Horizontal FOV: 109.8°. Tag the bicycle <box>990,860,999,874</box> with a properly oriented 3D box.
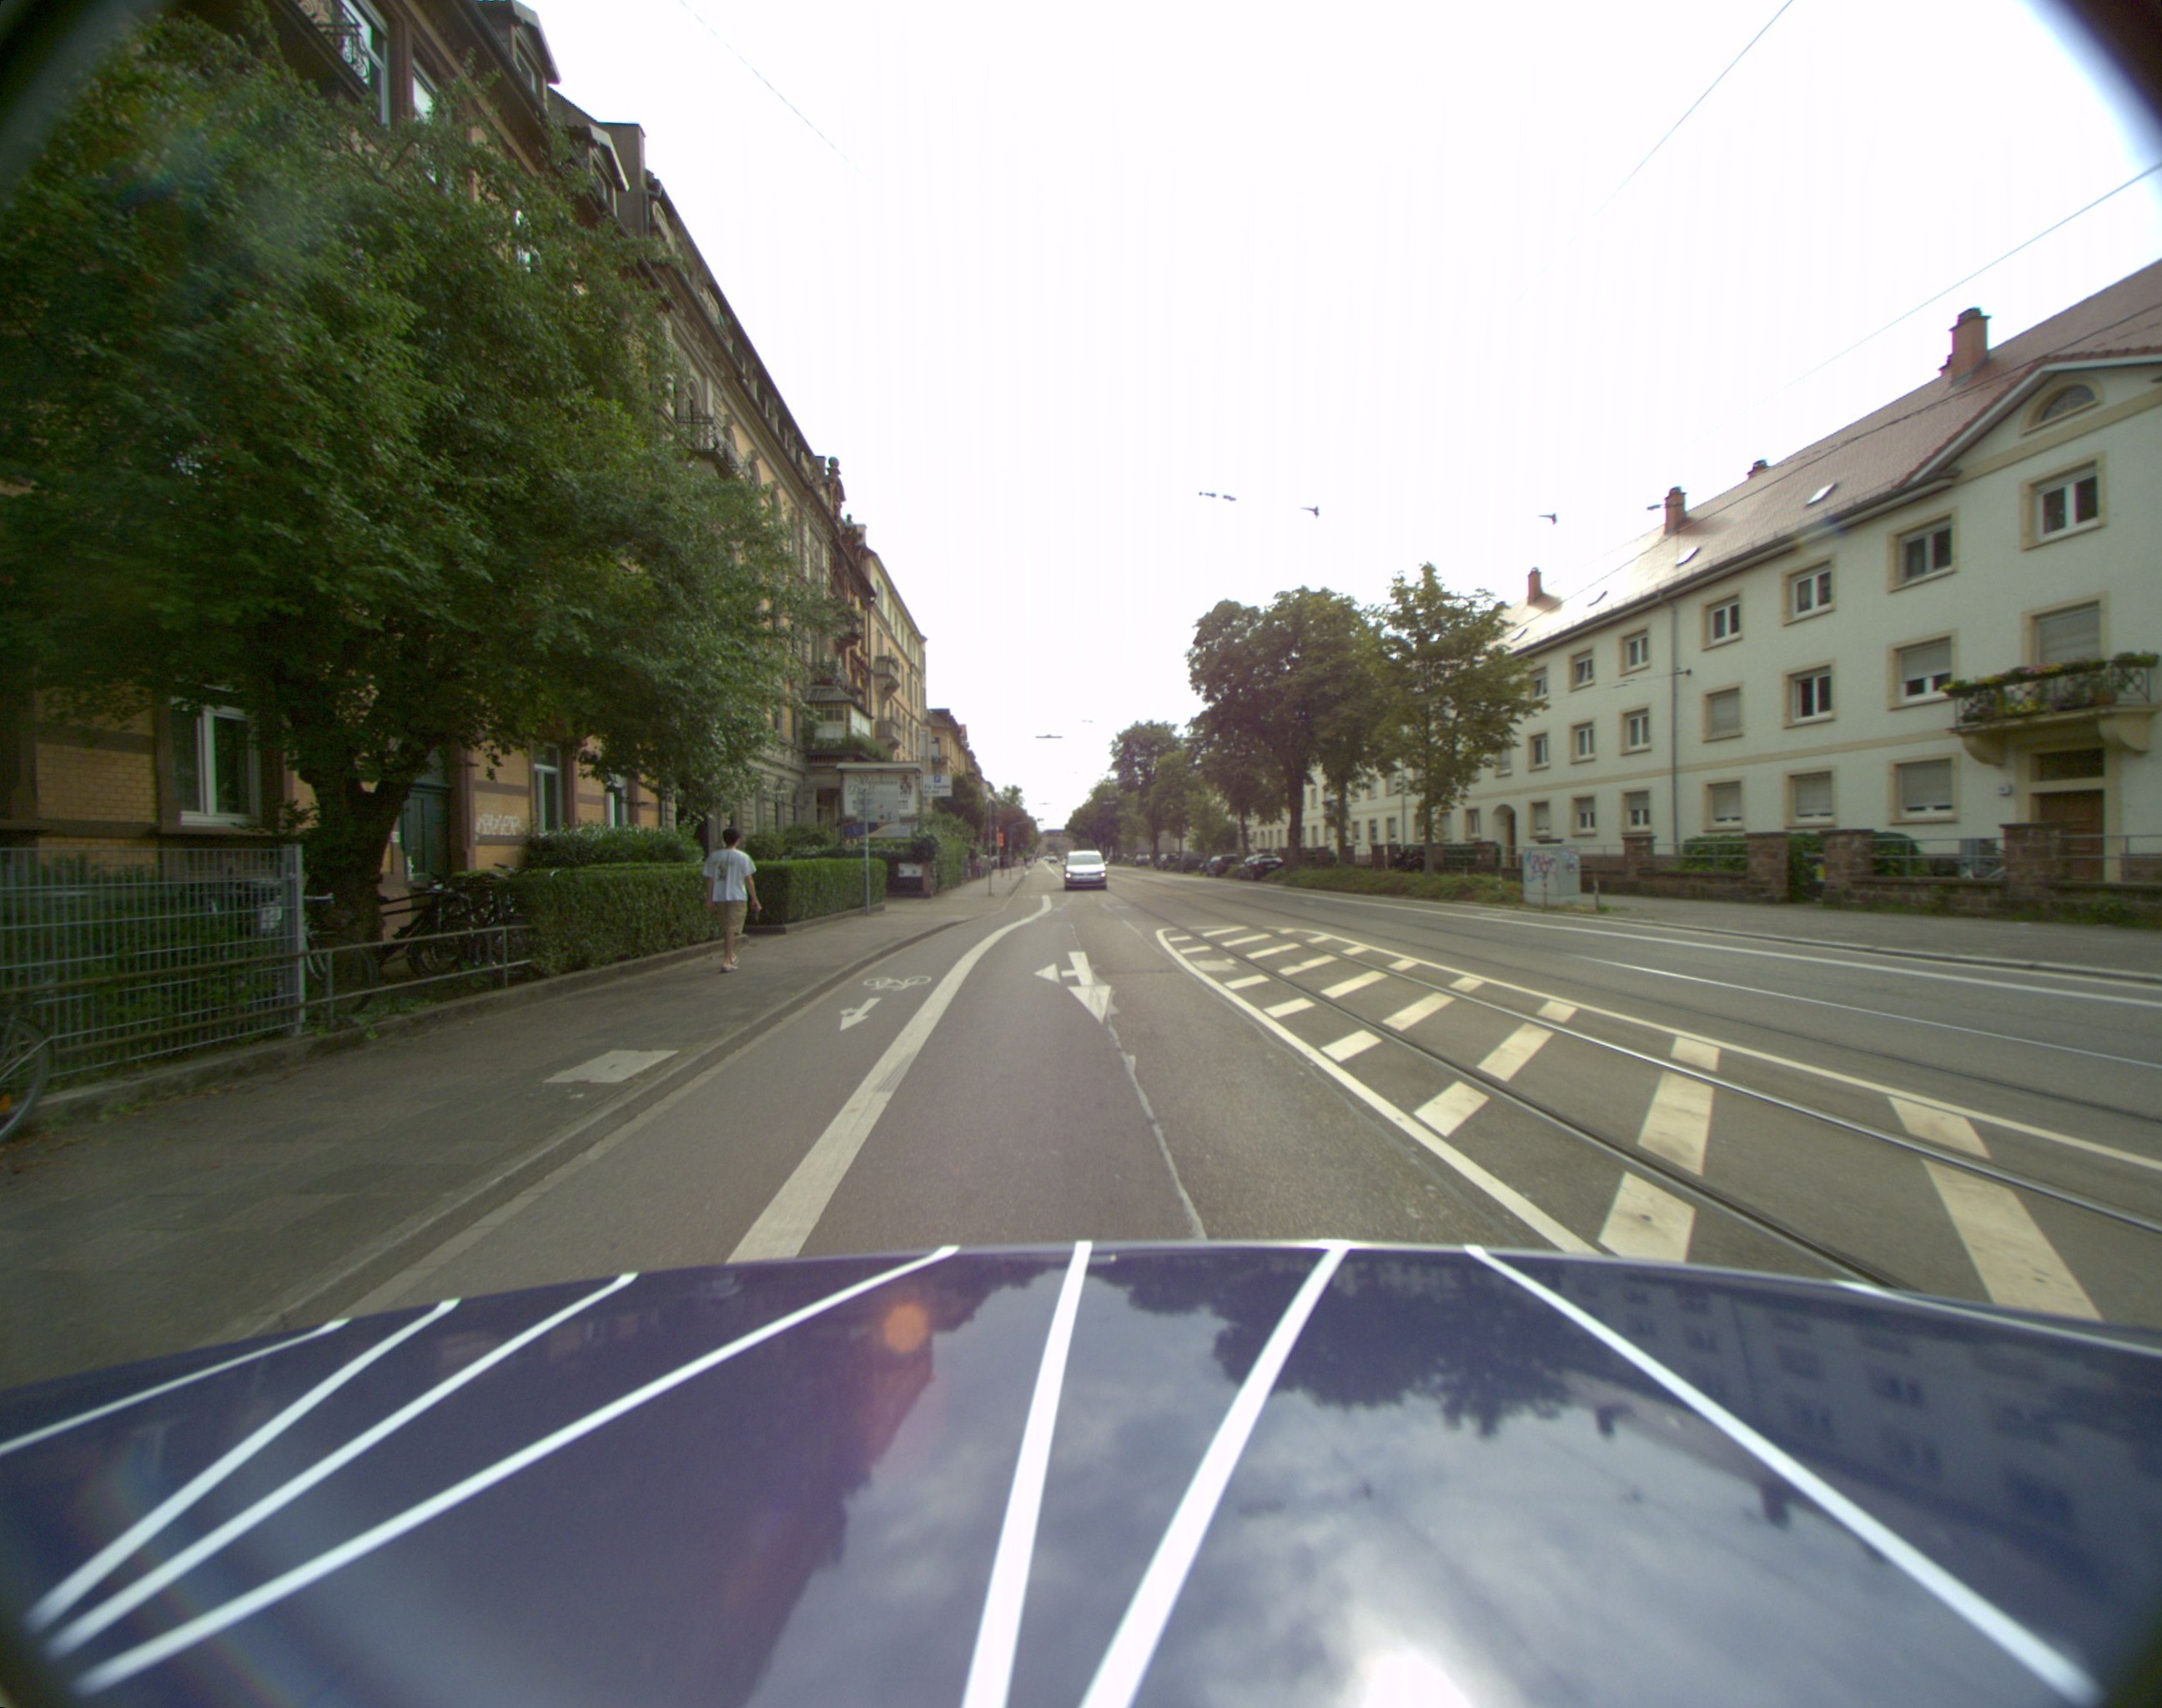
[{"bbox_3d":[-6.640,1.003,58.188,0.580,0.977,1.671,3,0,-4],"label":"bicycle"}]

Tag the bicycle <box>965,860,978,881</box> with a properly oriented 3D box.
[{"bbox_3d":[-5.958,0.906,41.346,0.580,1.105,1.671,-1,0,-4],"label":"bicycle"}]

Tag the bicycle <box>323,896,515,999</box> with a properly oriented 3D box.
[{"bbox_3d":[-6.946,0.967,8.018,1.549,1.003,0.444,-1,1,-4],"label":"bicycle"}]

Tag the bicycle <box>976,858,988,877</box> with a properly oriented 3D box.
[{"bbox_3d":[-6.060,0.848,46.704,0.580,1.105,1.671,3,0,-4],"label":"bicycle"}]

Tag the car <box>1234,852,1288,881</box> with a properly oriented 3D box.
[{"bbox_3d":[9.951,0.681,42.325,1.701,1.415,4.298,-4,0,-3],"label":"car"}]

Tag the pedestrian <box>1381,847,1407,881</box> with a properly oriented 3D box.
[{"bbox_3d":[14.170,0.431,34.389,0.835,1.503,0.732,-1,1,-8],"label":"pedestrian"}]

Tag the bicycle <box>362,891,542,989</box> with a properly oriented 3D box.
[{"bbox_3d":[-6.964,0.939,8.452,1.549,1.003,0.444,-1,1,-4],"label":"bicycle"}]

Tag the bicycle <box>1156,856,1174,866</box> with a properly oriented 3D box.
[{"bbox_3d":[8.356,0.740,75.779,1.672,0.965,0.672,-1,1,-12],"label":"bicycle"}]

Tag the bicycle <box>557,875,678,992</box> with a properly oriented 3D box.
[{"bbox_3d":[-5.624,0.916,9.320,0.517,1.274,1.550,-1,0,-1],"label":"bicycle"}]

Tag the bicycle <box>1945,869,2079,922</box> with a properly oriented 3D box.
[{"bbox_3d":[17.702,0.758,14.505,0.479,0.910,1.671,-1,0,-3],"label":"bicycle"}]

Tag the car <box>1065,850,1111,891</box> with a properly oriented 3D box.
[{"bbox_3d":[0.329,0.667,34.078,1.876,1.670,5.131,-1,0,1],"label":"car"}]

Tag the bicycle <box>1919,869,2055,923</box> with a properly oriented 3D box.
[{"bbox_3d":[16.747,0.748,14.107,0.479,0.910,1.671,-1,0,-3],"label":"bicycle"}]

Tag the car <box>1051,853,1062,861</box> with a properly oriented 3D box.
[{"bbox_3d":[-5.006,0.637,155.627,1.947,1.675,4.000,-1,0,1],"label":"car"}]

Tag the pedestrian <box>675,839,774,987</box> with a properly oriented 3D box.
[{"bbox_3d":[-4.389,0.695,9.425,0.732,1.744,0.950,-1,1,2],"label":"pedestrian"}]

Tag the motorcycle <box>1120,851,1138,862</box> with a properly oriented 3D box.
[{"bbox_3d":[6.721,0.368,105.953,2.312,1.382,0.838,-6,1,29],"label":"motorcycle"}]

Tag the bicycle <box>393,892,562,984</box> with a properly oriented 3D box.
[{"bbox_3d":[-7.034,0.964,8.890,1.549,1.003,0.444,-1,1,-4],"label":"bicycle"}]

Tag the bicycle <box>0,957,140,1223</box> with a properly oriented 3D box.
[{"bbox_3d":[-4.952,1.064,3.020,0.510,1.082,1.549,2,0,-3],"label":"bicycle"}]

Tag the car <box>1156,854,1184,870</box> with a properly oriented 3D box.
[{"bbox_3d":[8.298,0.729,71.150,1.702,1.462,4.298,-1,0,-5],"label":"car"}]

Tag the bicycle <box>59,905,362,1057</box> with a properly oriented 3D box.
[{"bbox_3d":[-6.394,0.911,5.636,1.549,1.003,0.510,-1,1,-4],"label":"bicycle"}]

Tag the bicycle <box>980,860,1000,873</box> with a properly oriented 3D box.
[{"bbox_3d":[-8.108,1.071,67.607,0.629,1.106,1.878,0,1,40],"label":"bicycle"}]

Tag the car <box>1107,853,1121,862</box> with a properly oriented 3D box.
[{"bbox_3d":[5.579,0.656,127.670,1.732,1.462,4.298,-1,0,-5],"label":"car"}]

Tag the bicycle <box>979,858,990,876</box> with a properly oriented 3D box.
[{"bbox_3d":[-6.171,0.819,48.674,0.580,1.105,1.671,3,0,-4],"label":"bicycle"}]

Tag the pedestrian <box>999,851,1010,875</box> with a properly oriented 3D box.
[{"bbox_3d":[-5.287,0.606,52.659,0.732,1.614,0.835,-1,1,-3],"label":"pedestrian"}]

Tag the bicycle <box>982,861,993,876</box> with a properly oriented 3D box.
[{"bbox_3d":[-6.422,0.981,52.302,0.580,0.977,1.671,3,0,-4],"label":"bicycle"}]

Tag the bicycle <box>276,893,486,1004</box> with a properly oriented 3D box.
[{"bbox_3d":[-6.809,0.907,7.437,1.549,1.003,0.444,-1,1,-4],"label":"bicycle"}]

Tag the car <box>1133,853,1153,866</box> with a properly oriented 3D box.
[{"bbox_3d":[7.337,0.674,90.378,1.701,1.462,4.297,-1,0,-5],"label":"car"}]

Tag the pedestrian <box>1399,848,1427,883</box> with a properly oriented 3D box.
[{"bbox_3d":[14.262,0.497,32.661,0.835,1.456,0.732,-1,1,-8],"label":"pedestrian"}]

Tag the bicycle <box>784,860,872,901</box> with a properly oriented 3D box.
[{"bbox_3d":[-8.417,0.870,25.360,2.631,1.304,0.770,-1,1,-5],"label":"bicycle"}]

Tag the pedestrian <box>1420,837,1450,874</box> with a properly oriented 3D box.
[{"bbox_3d":[14.503,0.059,31.129,0.835,1.456,0.732,-1,1,-8],"label":"pedestrian"}]

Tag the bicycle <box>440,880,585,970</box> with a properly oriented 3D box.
[{"bbox_3d":[-7.851,0.970,10.536,1.549,1.174,0.517,-1,1,-4],"label":"bicycle"}]

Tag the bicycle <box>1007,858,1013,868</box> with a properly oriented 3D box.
[{"bbox_3d":[-8.500,1.049,90.981,0.631,1.106,1.874,-1,0,-2],"label":"bicycle"}]

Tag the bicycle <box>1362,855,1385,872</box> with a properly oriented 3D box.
[{"bbox_3d":[14.949,0.473,38.822,0.510,0.858,1.549,-1,0,-3],"label":"bicycle"}]

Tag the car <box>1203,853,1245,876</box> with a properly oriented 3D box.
[{"bbox_3d":[9.442,0.679,50.440,1.701,1.415,4.298,-2,0,-3],"label":"car"}]

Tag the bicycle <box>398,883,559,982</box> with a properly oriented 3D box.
[{"bbox_3d":[-7.589,0.972,9.612,1.549,1.174,0.517,-1,1,-4],"label":"bicycle"}]

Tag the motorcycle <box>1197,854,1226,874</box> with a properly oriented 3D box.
[{"bbox_3d":[9.335,0.696,54.292,1.872,1.253,0.591,-6,1,-7],"label":"motorcycle"}]

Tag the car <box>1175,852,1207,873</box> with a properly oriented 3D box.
[{"bbox_3d":[8.891,0.648,61.928,1.790,1.602,4.298,-1,0,-3],"label":"car"}]
